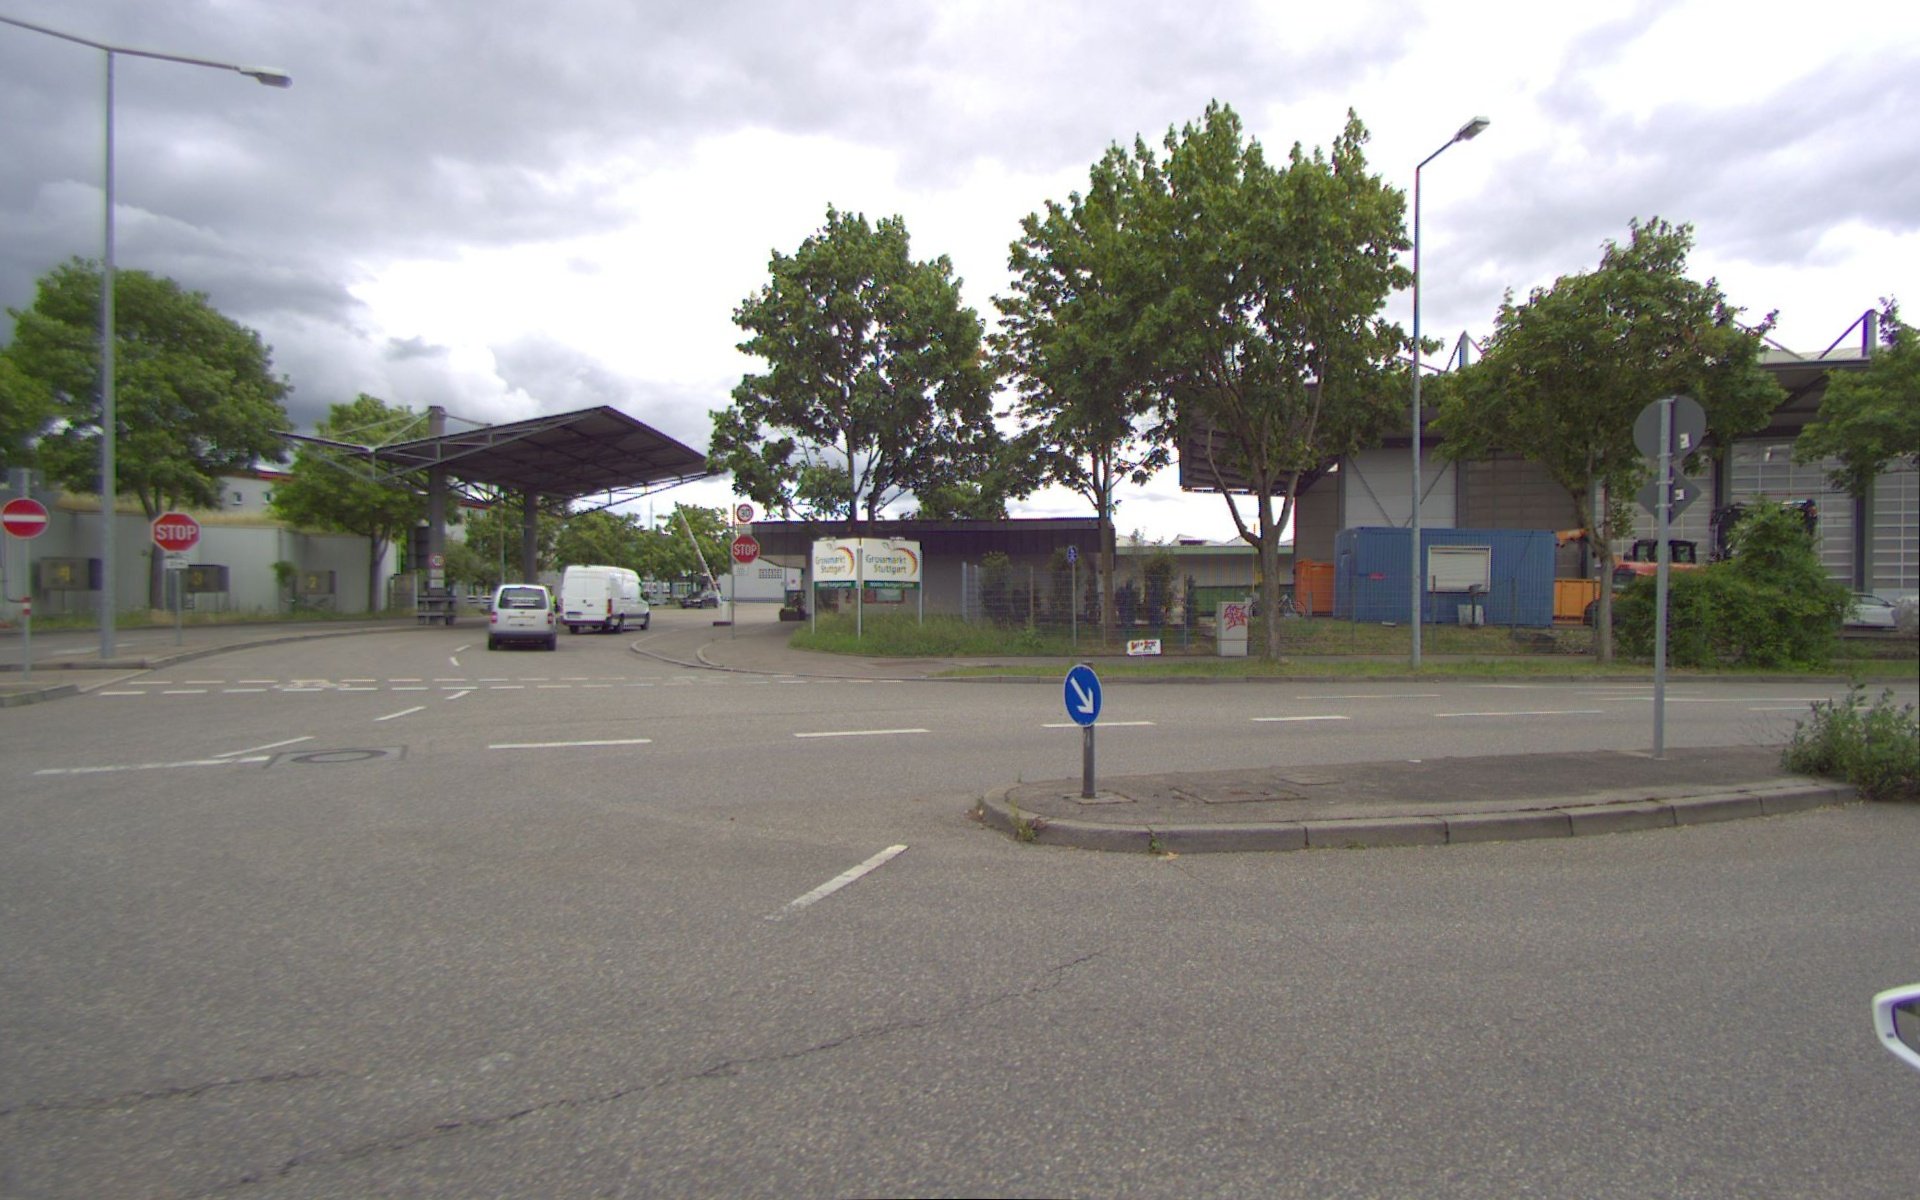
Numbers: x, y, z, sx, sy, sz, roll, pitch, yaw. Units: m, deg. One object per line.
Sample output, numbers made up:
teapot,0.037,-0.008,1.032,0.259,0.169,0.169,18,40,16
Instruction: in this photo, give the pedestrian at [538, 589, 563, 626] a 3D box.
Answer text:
pedestrian,-17.694,0.311,43.416,0.754,1.579,0.816,0,0,-5

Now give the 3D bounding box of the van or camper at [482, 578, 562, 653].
van or camper,-12.814,0.400,29.594,1.929,1.989,4.254,2,1,-21

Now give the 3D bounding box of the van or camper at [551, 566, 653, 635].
van or camper,-14.452,-0.051,41.015,2.287,2.591,6.571,0,1,-5

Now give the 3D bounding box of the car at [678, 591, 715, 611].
car,-22.150,0.071,84.521,1.818,1.667,4.001,1,0,4

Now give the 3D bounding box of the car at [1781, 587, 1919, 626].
car,34.338,0.238,38.626,3.919,1.392,1.739,1,0,12

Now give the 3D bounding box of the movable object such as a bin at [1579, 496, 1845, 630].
movable object such as a bin,24.126,-1.118,32.499,6.420,4.145,2.735,0,0,5

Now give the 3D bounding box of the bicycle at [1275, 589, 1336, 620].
bicycle,11.013,0.146,32.035,1.726,0.987,0.663,0,0,4
